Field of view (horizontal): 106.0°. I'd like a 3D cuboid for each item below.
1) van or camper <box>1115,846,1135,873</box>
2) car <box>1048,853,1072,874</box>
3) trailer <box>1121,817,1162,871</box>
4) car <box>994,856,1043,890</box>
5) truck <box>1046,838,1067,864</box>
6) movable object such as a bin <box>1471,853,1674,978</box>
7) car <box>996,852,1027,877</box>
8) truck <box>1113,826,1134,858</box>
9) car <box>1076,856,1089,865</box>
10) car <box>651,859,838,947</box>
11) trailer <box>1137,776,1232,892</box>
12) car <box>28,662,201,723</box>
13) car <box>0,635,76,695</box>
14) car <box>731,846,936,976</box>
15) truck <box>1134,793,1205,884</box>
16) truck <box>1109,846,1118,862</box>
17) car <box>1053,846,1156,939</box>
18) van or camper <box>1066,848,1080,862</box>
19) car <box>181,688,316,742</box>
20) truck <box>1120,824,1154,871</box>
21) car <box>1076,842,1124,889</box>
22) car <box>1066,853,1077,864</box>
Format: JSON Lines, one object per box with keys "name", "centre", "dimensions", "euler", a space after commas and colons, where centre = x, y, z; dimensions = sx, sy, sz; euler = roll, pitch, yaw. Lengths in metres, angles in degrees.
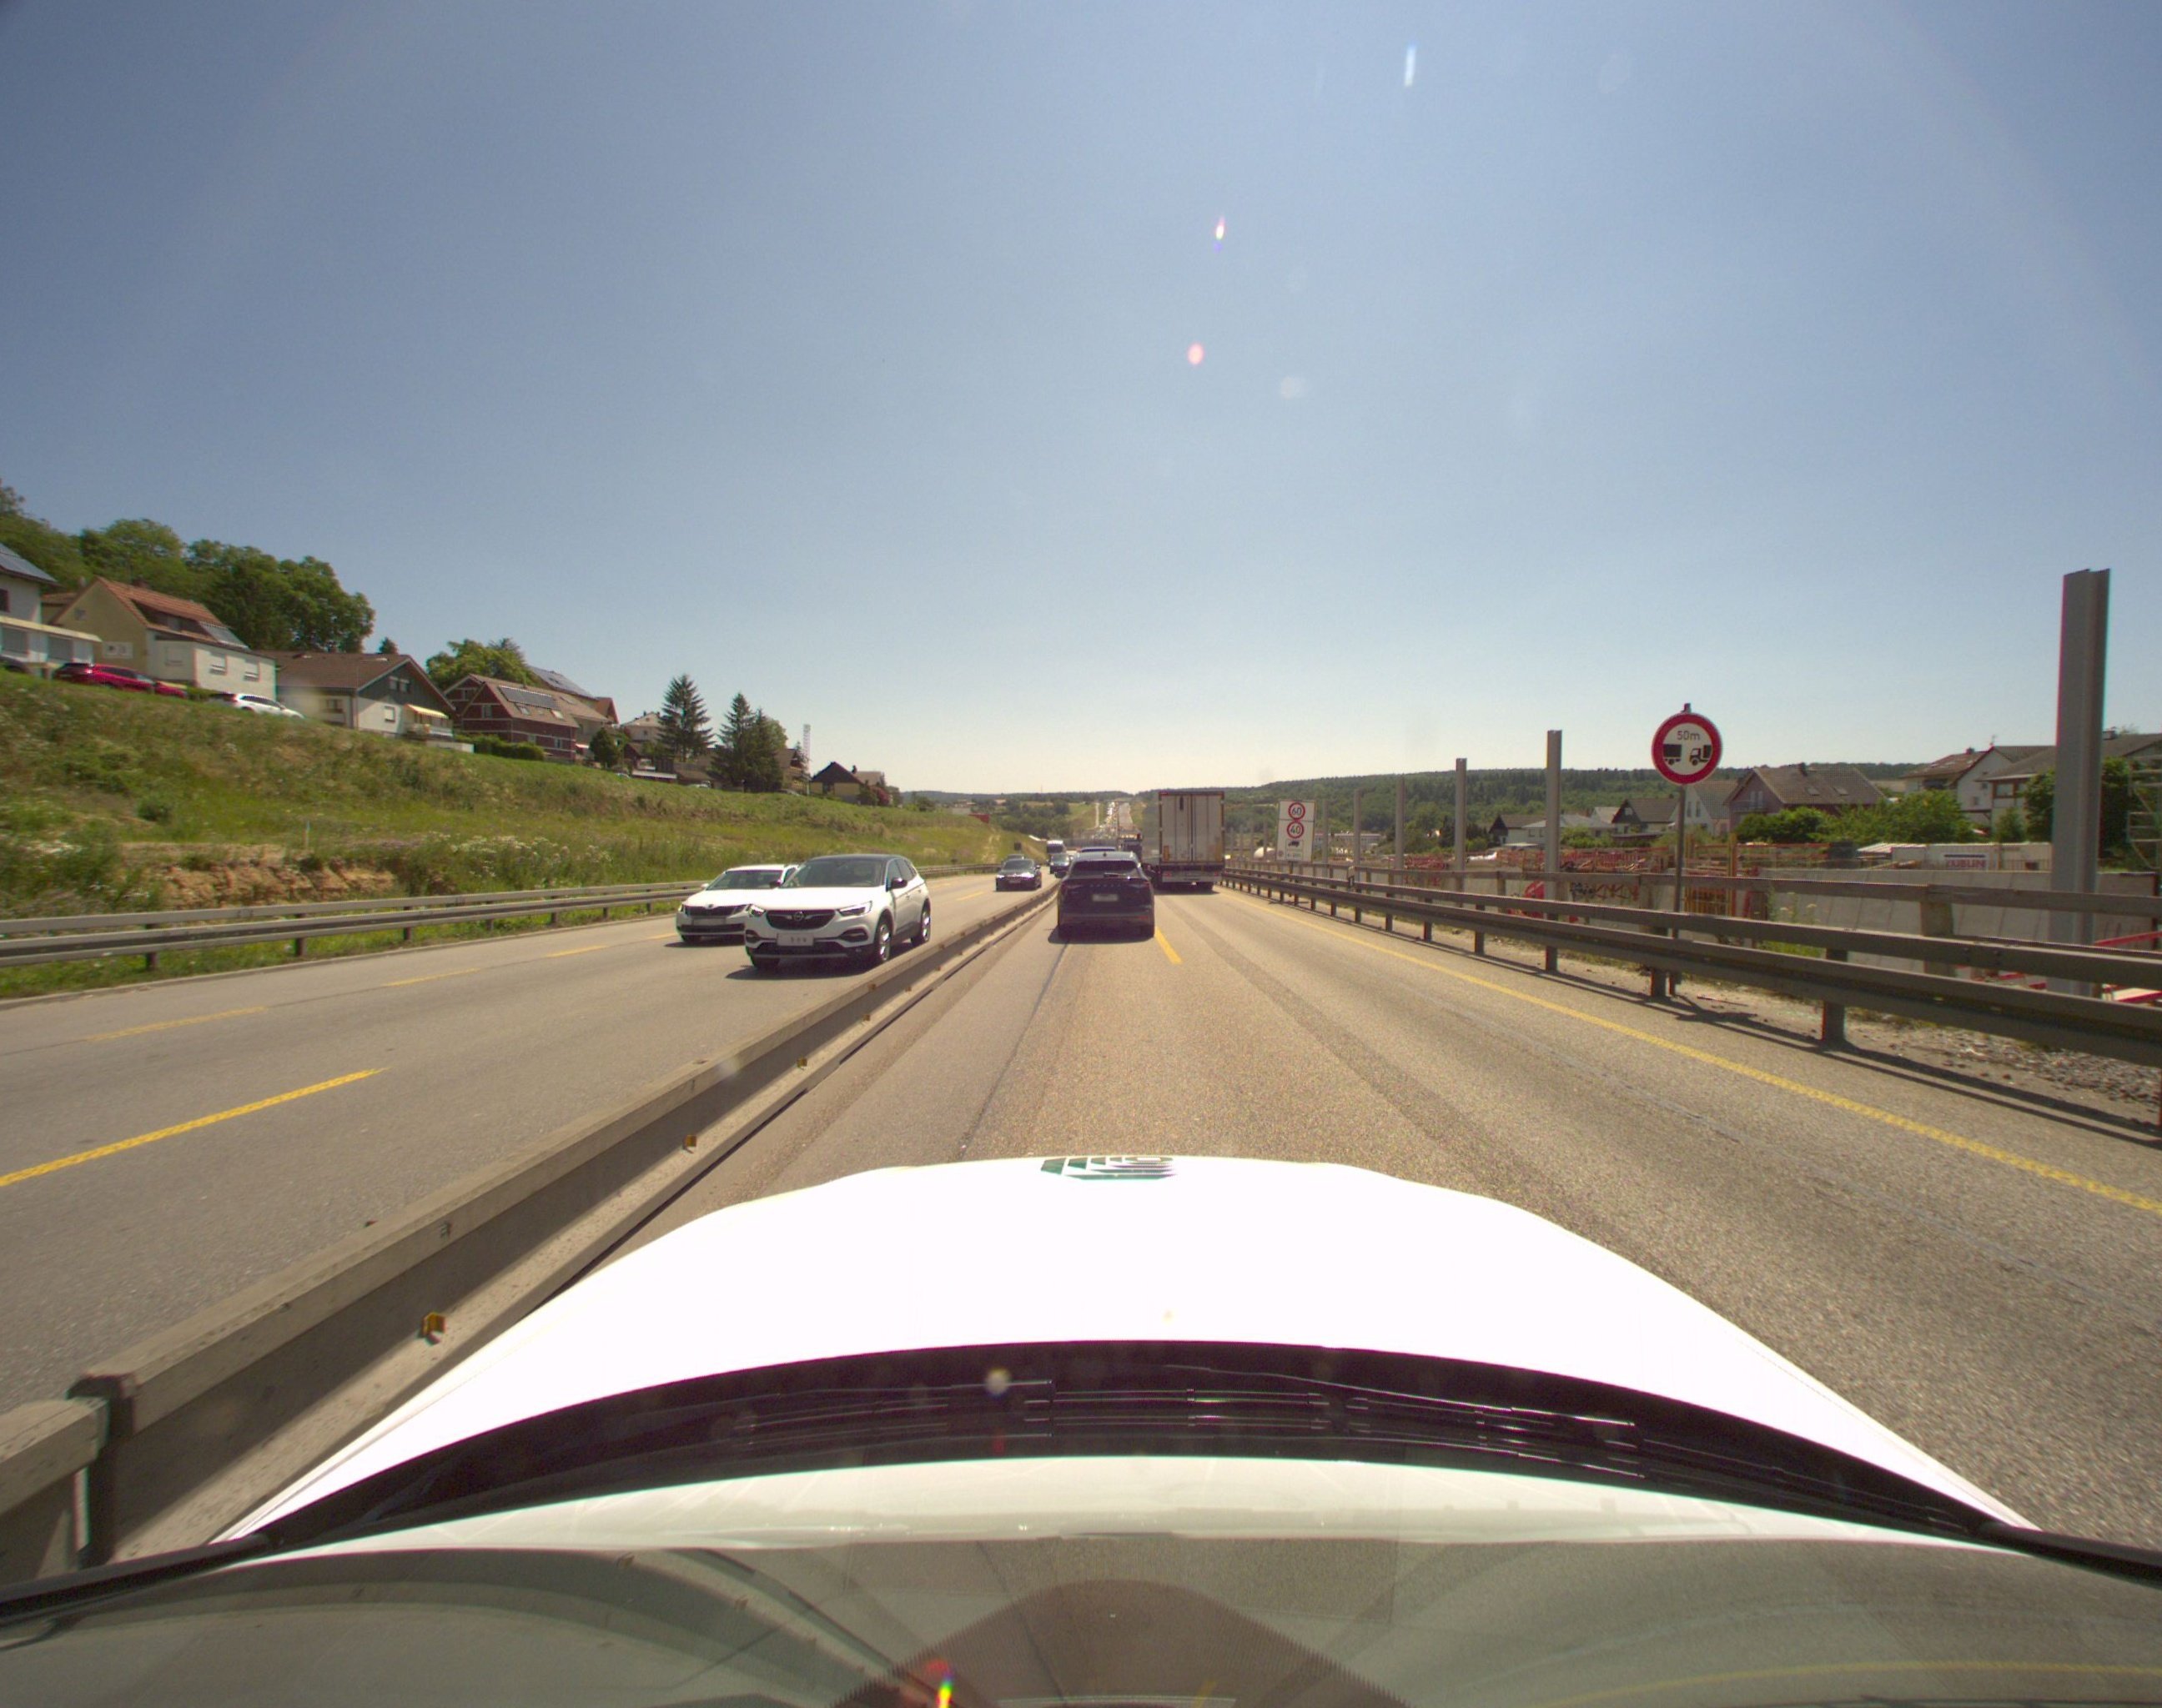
{"name": "van or camper", "centre": [5.650, 0.765, 103.257], "dimensions": [2.378, 3.281, 6.475], "euler": [-1, -1, 4]}
{"name": "car", "centre": [-1.823, 0.814, 71.570], "dimensions": [1.839, 1.777, 4.883], "euler": [-1, 0, 1]}
{"name": "trailer", "centre": [5.473, -0.675, 76.740], "dimensions": [3.168, 4.513, 14.971], "euler": [-1, -1, 2]}
{"name": "car", "centre": [-2.866, 0.850, 38.067], "dimensions": [1.791, 1.466, 4.357], "euler": [-2, 0, 2]}
{"name": "truck", "centre": [-3.583, -0.404, 119.349], "dimensions": [2.769, 3.672, 6.278], "euler": [-1, 0, 1]}
{"name": "movable object such as a bin", "centre": [21.001, 2.440, 35.828], "dimensions": [3.215, 4.743, 9.657], "euler": [-1, -1, 1]}
{"name": "car", "centre": [-5.273, 0.780, 62.282], "dimensions": [1.821, 1.766, 4.498], "euler": [-1, 0, 2]}
{"name": "truck", "centre": [6.649, -1.789, 128.284], "dimensions": [2.842, 4.465, 11.919], "euler": [-1, -1, 1]}
{"name": "car", "centre": [0.252, 1.061, 133.550], "dimensions": [1.887, 1.414, 4.682], "euler": [-1, 0, 2]}
{"name": "car", "centre": [-6.576, 0.871, 16.551], "dimensions": [1.798, 1.497, 4.600], "euler": [-1, 0, 1]}
{"name": "trailer", "centre": [4.494, -0.805, 38.396], "dimensions": [3.168, 4.513, 13.113], "euler": [-1, 0, 2]}
{"name": "car", "centre": [-44.794, -7.450, 37.961], "dimensions": [2.341, 1.794, 4.798], "euler": [-1, -1, -2]}
{"name": "car", "centre": [-43.178, -7.610, 31.775], "dimensions": [2.175, 1.794, 4.755], "euler": [-1, -1, -5]}
{"name": "car", "centre": [-3.551, 0.738, 12.547], "dimensions": [1.800, 1.640, 4.173], "euler": [-1, 0, 1]}
{"name": "truck", "centre": [4.700, -0.799, 44.850], "dimensions": [3.168, 4.513, 8.169], "euler": [-1, 0, 2]}
{"name": "truck", "centre": [9.207, 0.050, 231.560], "dimensions": [2.630, 4.194, 9.287], "euler": [-1, -1, 2]}
{"name": "car", "centre": [0.500, 0.707, 16.349], "dimensions": [1.795, 1.607, 4.002], "euler": [-1, -1, 2]}
{"name": "van or camper", "centre": [-1.623, 0.255, 164.285], "dimensions": [2.348, 2.676, 7.861], "euler": [-1, 0, 2]}
{"name": "car", "centre": [-45.033, -7.469, 44.255], "dimensions": [2.341, 2.041, 4.815], "euler": [-1, -1, -1]}
{"name": "truck", "centre": [5.671, -0.537, 83.753], "dimensions": [3.168, 4.513, 8.167], "euler": [-1, -1, 2]}
{"name": "car", "centre": [0.839, 0.521, 36.024], "dimensions": [1.986, 1.926, 4.508], "euler": [-1, -1, 1]}
{"name": "car", "centre": [-1.807, 0.893, 157.688], "dimensions": [1.986, 1.971, 5.345], "euler": [-1, 0, 2]}
